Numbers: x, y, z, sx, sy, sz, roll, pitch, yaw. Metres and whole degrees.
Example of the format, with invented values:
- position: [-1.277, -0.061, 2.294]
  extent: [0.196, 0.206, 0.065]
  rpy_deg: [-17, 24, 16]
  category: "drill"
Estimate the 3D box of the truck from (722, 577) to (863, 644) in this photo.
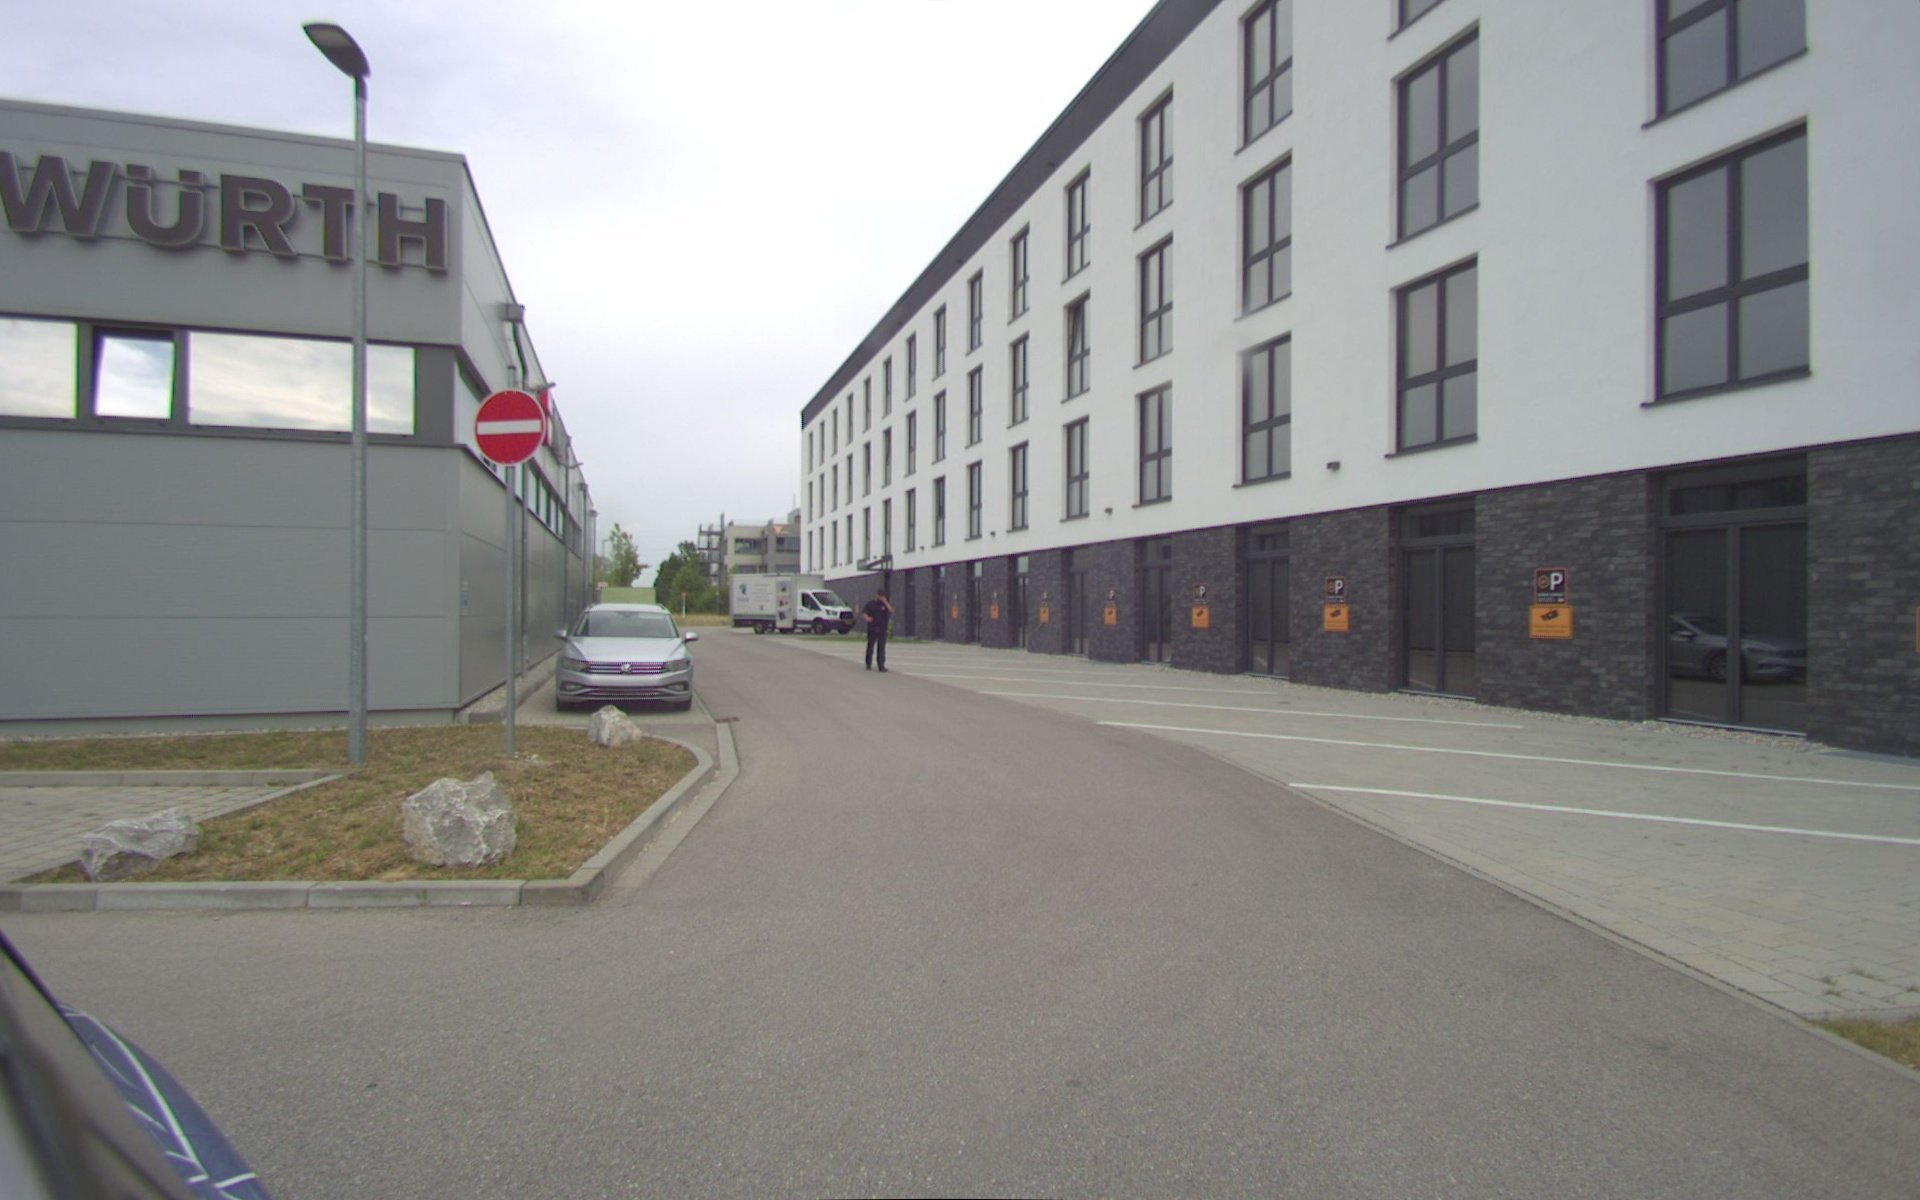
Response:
- position: [-8.237, 0.508, 49.352]
  extent: [7.049, 3.039, 2.409]
  rpy_deg: [-1, -1, 34]
  category: "truck"

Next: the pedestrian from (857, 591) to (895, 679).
- position: [-1.802, 0.739, 21.592]
  extent: [0.698, 1.836, 0.815]
  rpy_deg: [0, -1, -12]
  category: "pedestrian"

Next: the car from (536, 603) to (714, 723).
- position: [-4.879, 0.859, 15.402]
  extent: [1.948, 1.503, 4.781]
  rpy_deg: [2, -1, -11]
  category: "car"
